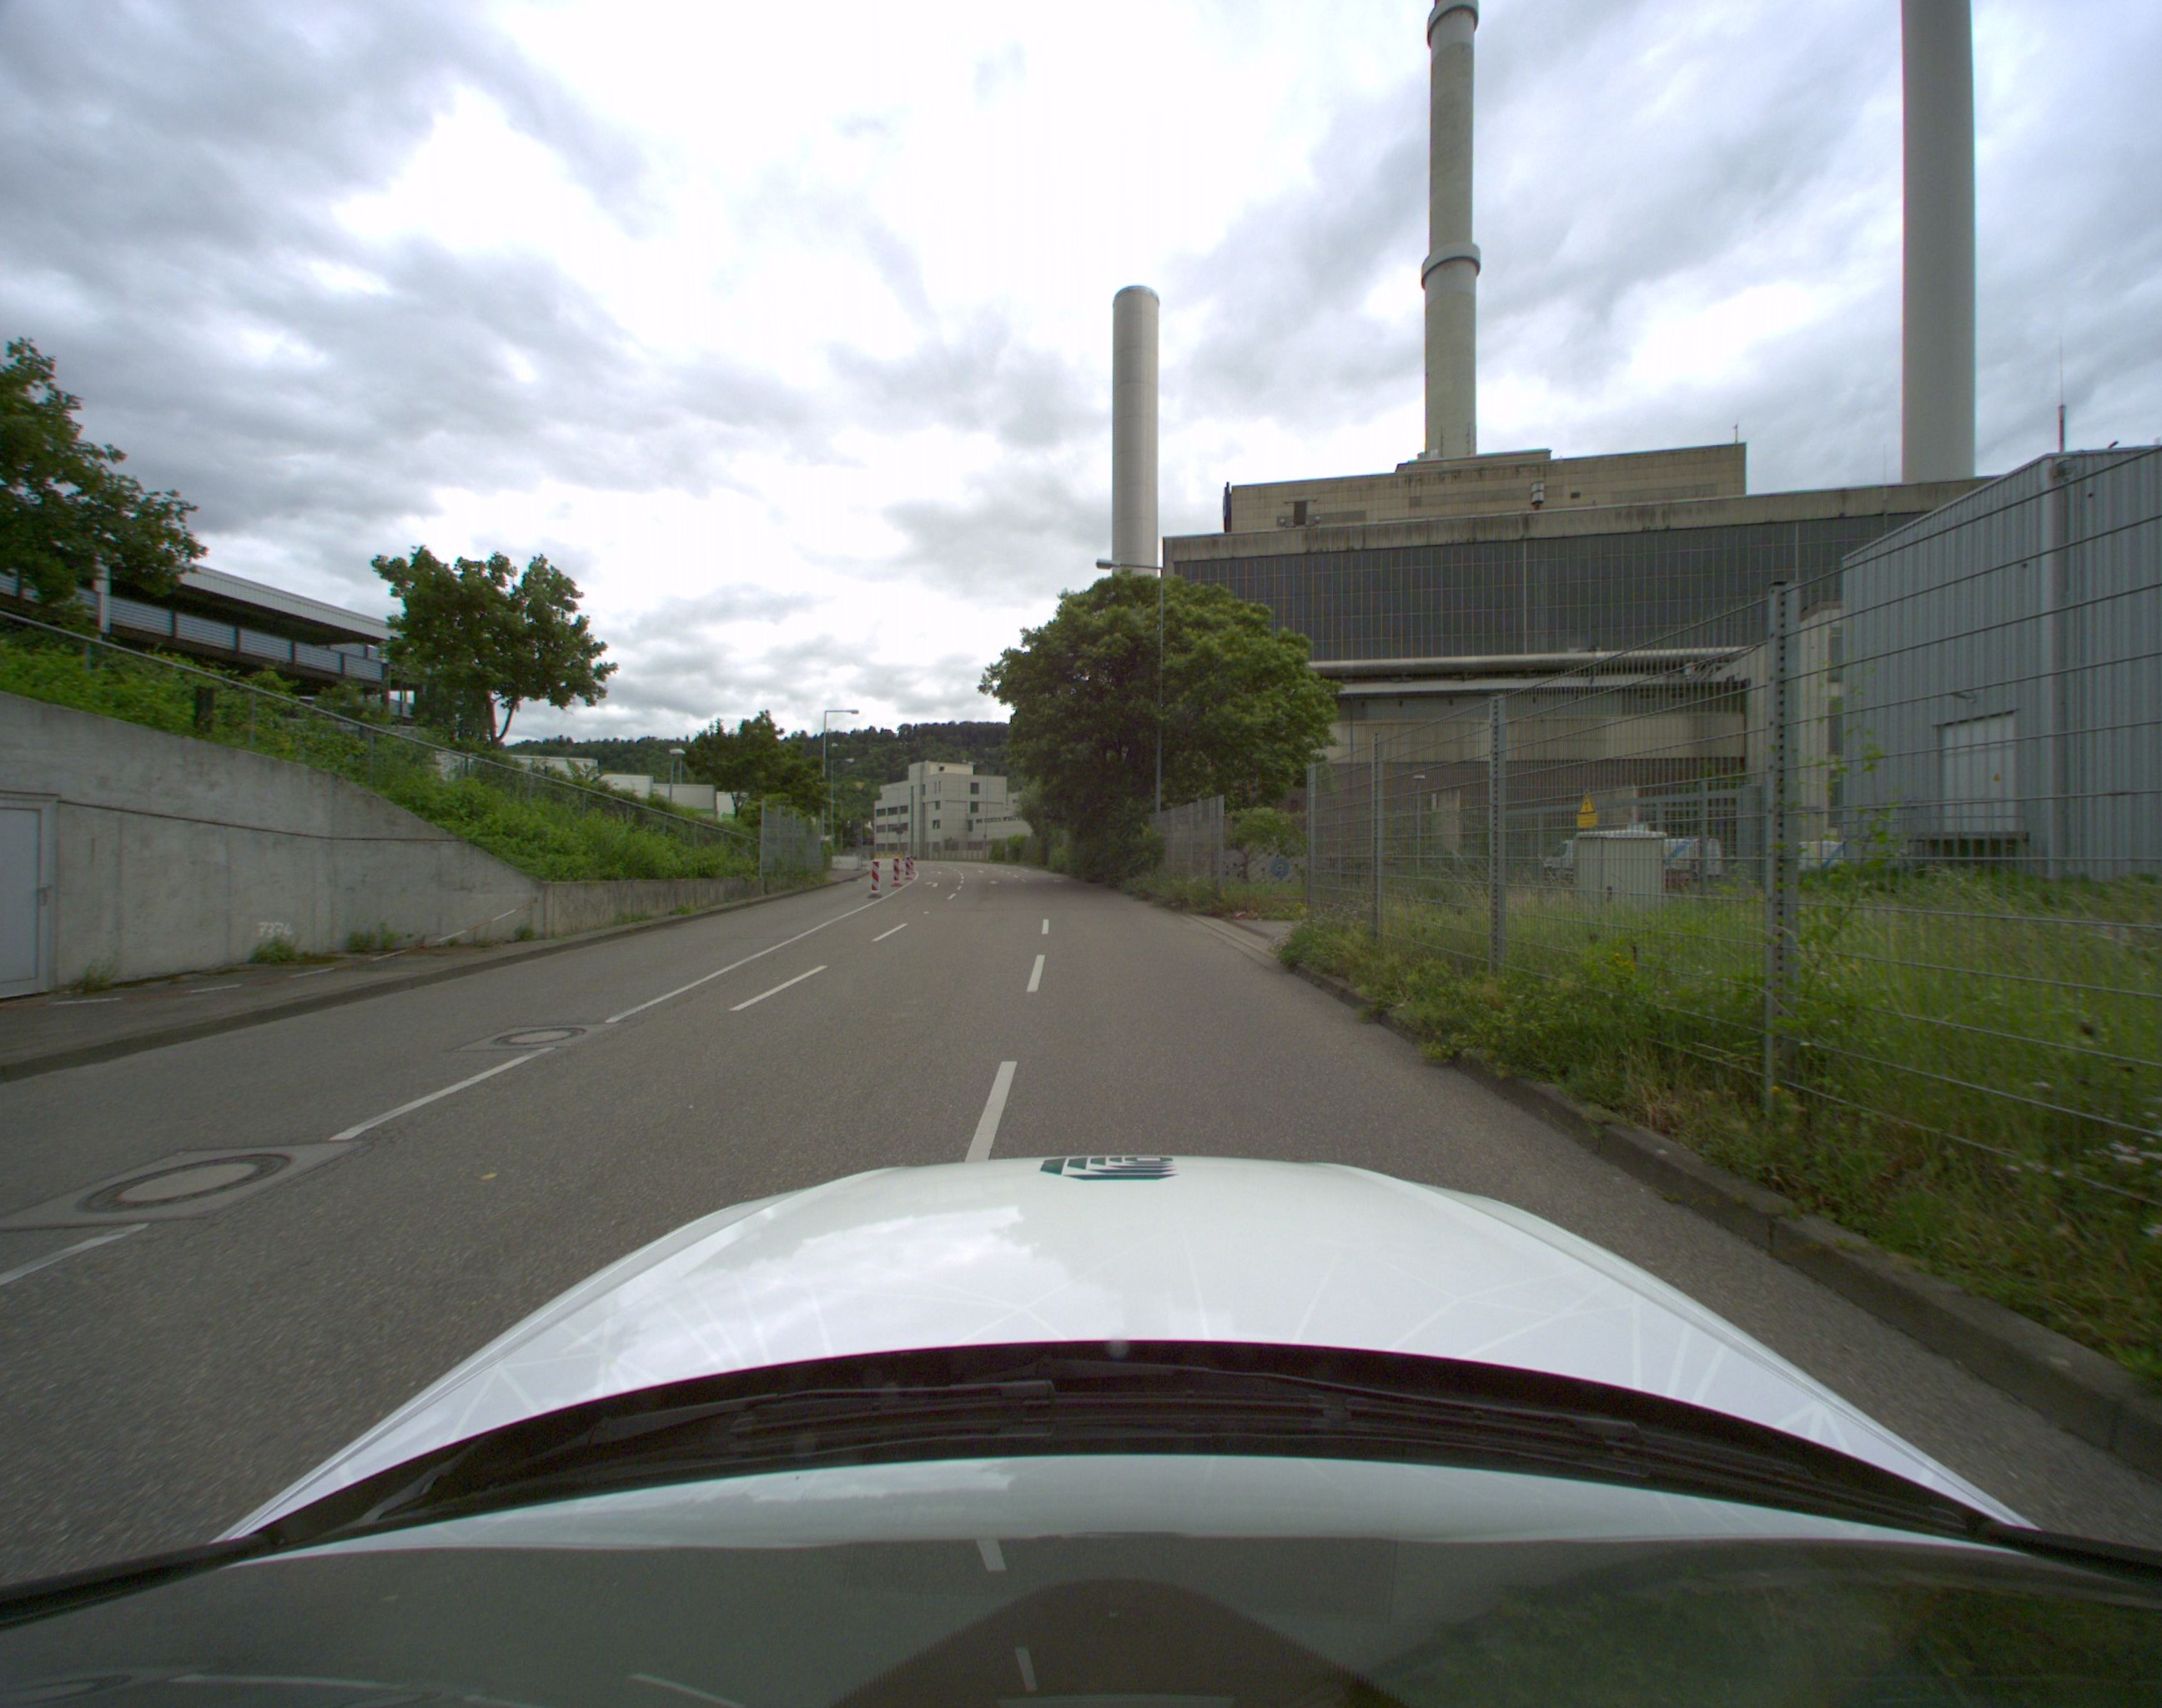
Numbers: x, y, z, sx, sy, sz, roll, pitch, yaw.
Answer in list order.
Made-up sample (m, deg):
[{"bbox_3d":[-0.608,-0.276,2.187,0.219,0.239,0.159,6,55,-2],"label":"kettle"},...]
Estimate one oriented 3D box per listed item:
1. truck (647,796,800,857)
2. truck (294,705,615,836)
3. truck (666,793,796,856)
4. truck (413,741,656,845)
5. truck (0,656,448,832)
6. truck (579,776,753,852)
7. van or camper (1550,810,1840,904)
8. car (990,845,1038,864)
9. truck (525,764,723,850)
[{"bbox_3d":[-25.186,-1.861,58.031,9.647,3.991,3.033,0,-2,-19],"label":"truck"},{"bbox_3d":[-20.671,-2.539,27.593,8.190,3.539,3.018,1,-2,-36],"label":"truck"},{"bbox_3d":[-23.465,-1.882,55.136,7.867,3.991,3.031,0,-2,-20],"label":"truck"},{"bbox_3d":[-22.072,-2.276,33.324,7.900,3.539,3.018,1,-2,-36],"label":"truck"},{"bbox_3d":[-21.806,-2.526,21.455,7.900,3.539,3.018,1,-2,-36],"label":"truck"},{"bbox_3d":[-21.915,-1.967,43.242,7.897,3.539,3.020,1,-2,-34],"label":"truck"},{"bbox_3d":[31.976,0.208,42.844,11.801,4.531,5.469,0,-2,-9],"label":"van or camper"},{"bbox_3d":[-8.356,0.082,101.225,6.090,2.263,2.012,1,-1,38],"label":"car"},{"bbox_3d":[-21.505,-2.082,38.721,7.892,3.539,3.022,1,-2,-31],"label":"truck"}]
